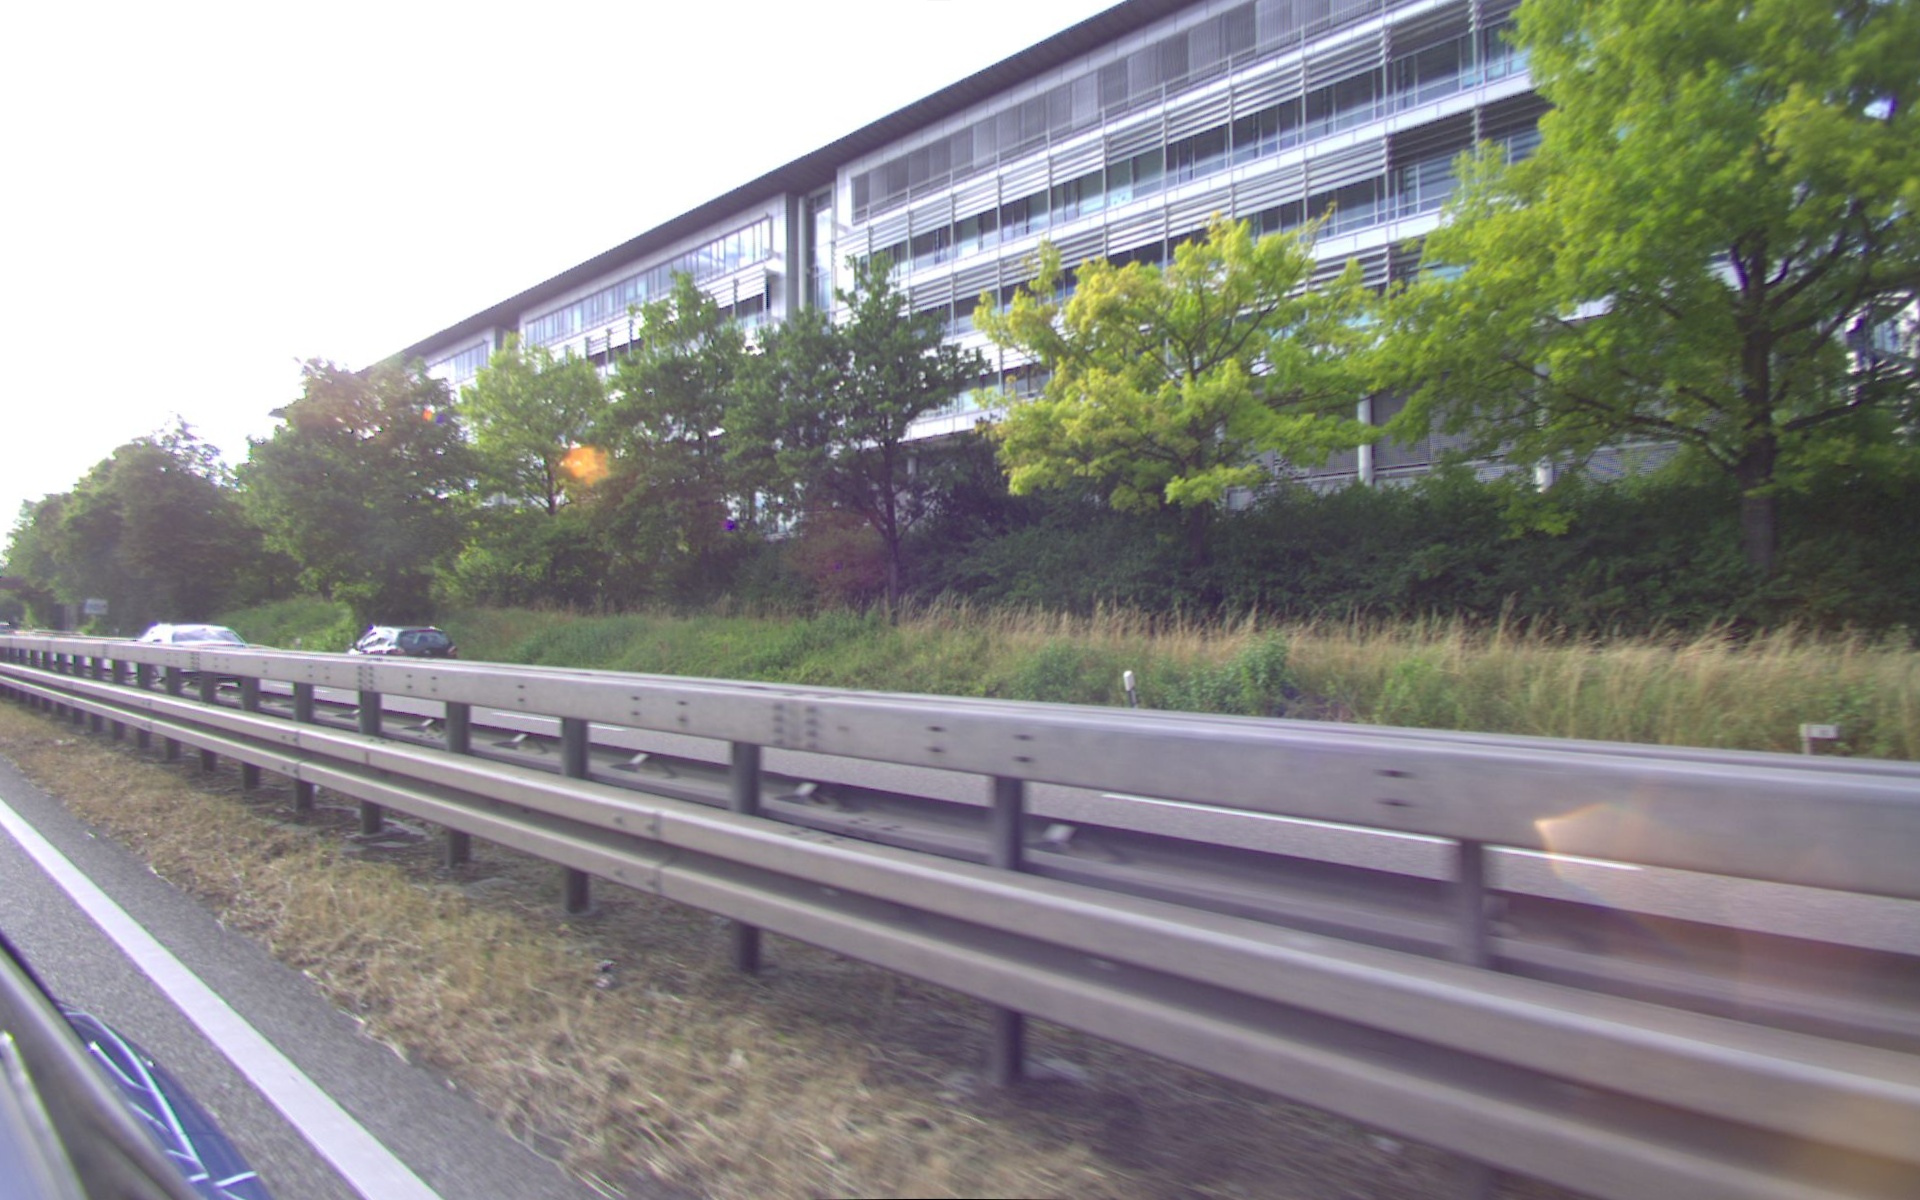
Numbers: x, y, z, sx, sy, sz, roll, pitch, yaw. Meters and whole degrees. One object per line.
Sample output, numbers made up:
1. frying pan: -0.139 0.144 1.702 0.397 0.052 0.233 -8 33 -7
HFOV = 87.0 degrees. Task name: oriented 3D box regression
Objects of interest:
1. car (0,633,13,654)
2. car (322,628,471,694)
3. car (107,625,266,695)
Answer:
1. car: -71.394 3.172 74.523 4.413 1.496 1.798 -2 -5 40
2. car: -13.670 1.405 24.433 4.564 1.433 1.738 -2 -1 42
3. car: -16.992 1.253 22.149 4.563 1.389 1.816 -2 -3 40
